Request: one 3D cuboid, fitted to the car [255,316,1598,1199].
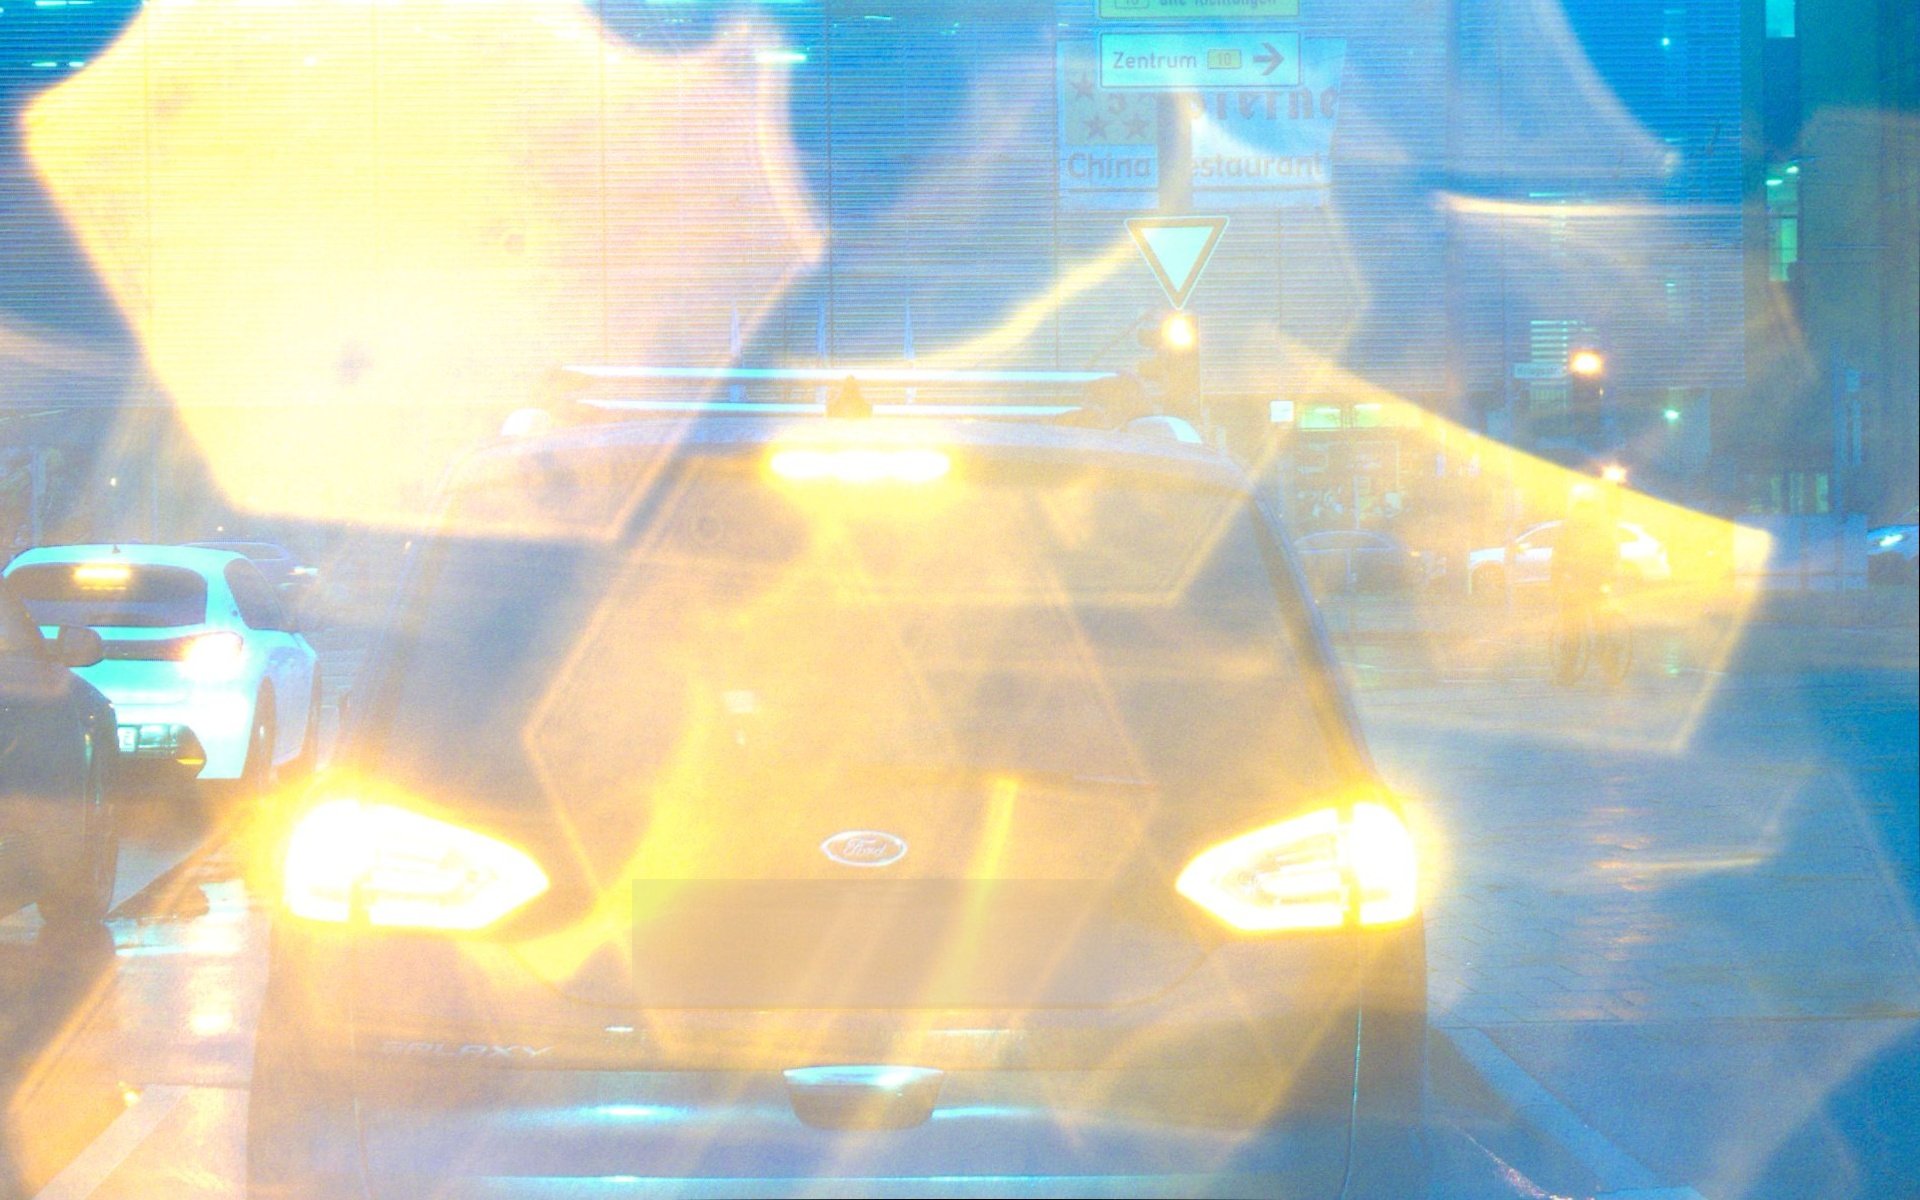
[{"bbox_3d":[-0.151,0.474,6.656,1.735,1.732,4.247,2,1,-3],"label":"car"}]

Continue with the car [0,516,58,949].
[{"bbox_3d":[-4.292,0.503,11.531,1.752,1.568,4.001,-1,1,-4],"label":"car"}]

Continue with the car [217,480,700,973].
[{"bbox_3d":[-1.879,0.412,13.664,1.636,1.691,3.671,1,1,-5],"label":"car"}]

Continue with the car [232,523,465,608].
[{"bbox_3d":[-12.006,-0.692,67.697,4.418,1.589,1.800,-1,1,-7],"label":"car"}]

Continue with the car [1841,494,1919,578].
[{"bbox_3d":[19.616,-1.267,66.919,4.418,1.589,1.800,-1,1,-7],"label":"car"}]

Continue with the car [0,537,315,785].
[{"bbox_3d":[-4.525,0.272,19.447,1.540,1.247,4.069,0,1,-8],"label":"car"}]

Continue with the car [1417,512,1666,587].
[{"bbox_3d":[11.218,-0.978,66.449,4.418,1.385,1.800,-1,1,-7],"label":"car"}]

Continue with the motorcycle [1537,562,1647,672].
[{"bbox_3d":[5.806,0.146,31.662,0.853,0.968,1.581,0,1,5],"label":"motorcycle"}]

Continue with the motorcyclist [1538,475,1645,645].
[{"bbox_3d":[5.807,-0.370,31.668,0.868,1.529,1.108,0,1,5],"label":"motorcyclist"}]
